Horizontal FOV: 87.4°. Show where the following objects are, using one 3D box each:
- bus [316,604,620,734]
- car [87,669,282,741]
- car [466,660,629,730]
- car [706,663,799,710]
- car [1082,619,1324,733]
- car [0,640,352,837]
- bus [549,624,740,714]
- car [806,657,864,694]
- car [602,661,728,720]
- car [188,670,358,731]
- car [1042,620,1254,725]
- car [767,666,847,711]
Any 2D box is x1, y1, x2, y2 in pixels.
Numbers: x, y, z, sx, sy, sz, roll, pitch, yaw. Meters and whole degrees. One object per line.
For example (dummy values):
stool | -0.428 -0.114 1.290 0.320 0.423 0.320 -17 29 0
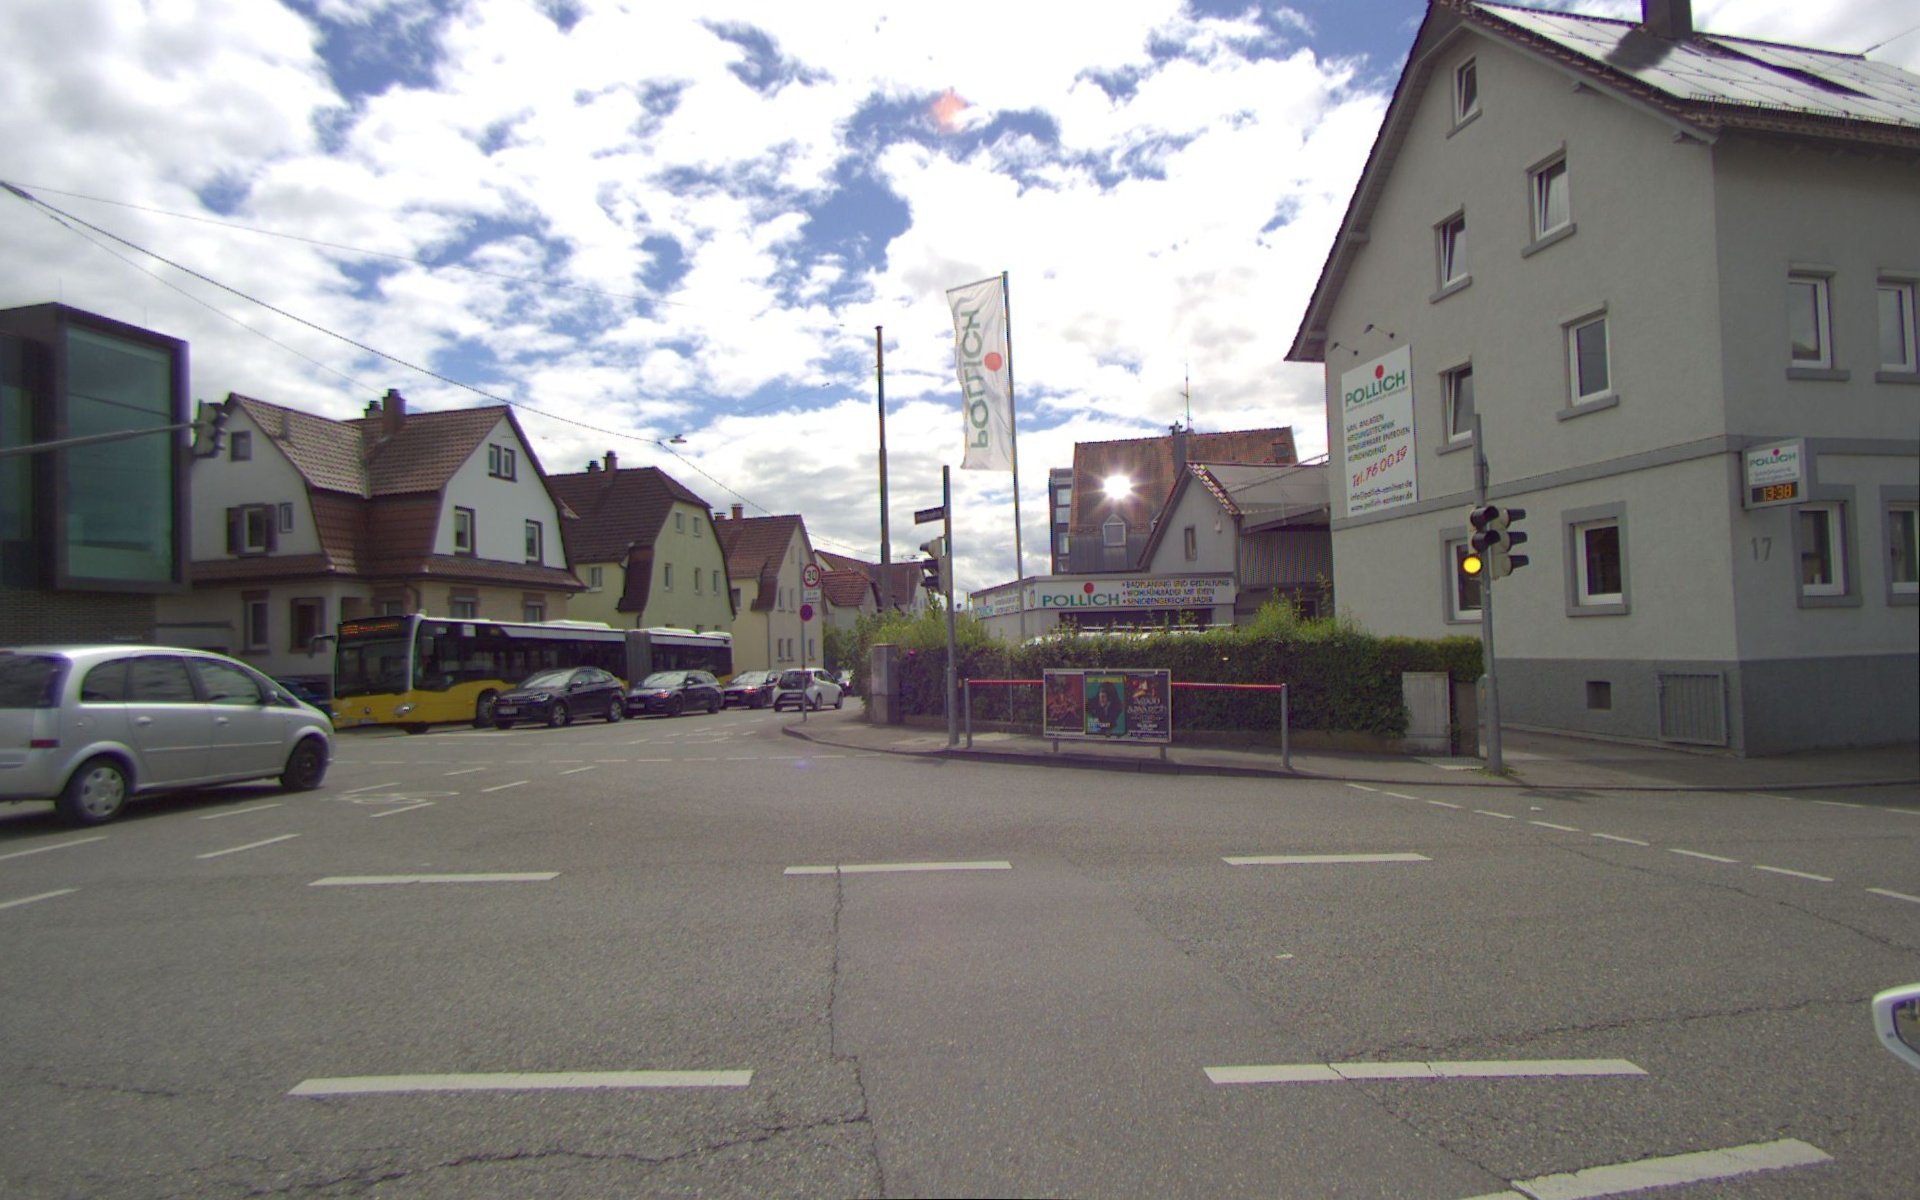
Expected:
bus | -13.463 1.926 28.785 2.730 3.100 9.199 -1 -3 12
car | -21.132 2.826 27.464 3.919 1.661 2.002 2 -3 10
car | -10.632 2.420 26.254 1.960 1.661 4.003 -1 -3 13
car | -7.820 3.258 38.299 1.960 1.661 4.003 -1 -3 13
car | 4.508 1.401 18.926 3.931 1.973 1.996 0 -4 -13
car | -8.338 1.250 10.214 1.740 1.596 4.004 -1 -3 3
bus | -11.491 2.555 37.883 2.730 2.952 9.199 -1 -3 12
car | -7.348 4.444 59.492 1.960 2.040 4.003 -2 -3 16
car | -9.097 2.766 31.396 1.960 1.661 4.187 -1 -3 13
car | -20.751 3.030 30.430 3.919 1.705 2.002 -1 -3 10
car | 3.915 1.500 21.251 3.930 2.040 1.996 0 -3 -12
car | -5.346 3.082 35.461 1.708 1.479 3.536 -1 -3 10
